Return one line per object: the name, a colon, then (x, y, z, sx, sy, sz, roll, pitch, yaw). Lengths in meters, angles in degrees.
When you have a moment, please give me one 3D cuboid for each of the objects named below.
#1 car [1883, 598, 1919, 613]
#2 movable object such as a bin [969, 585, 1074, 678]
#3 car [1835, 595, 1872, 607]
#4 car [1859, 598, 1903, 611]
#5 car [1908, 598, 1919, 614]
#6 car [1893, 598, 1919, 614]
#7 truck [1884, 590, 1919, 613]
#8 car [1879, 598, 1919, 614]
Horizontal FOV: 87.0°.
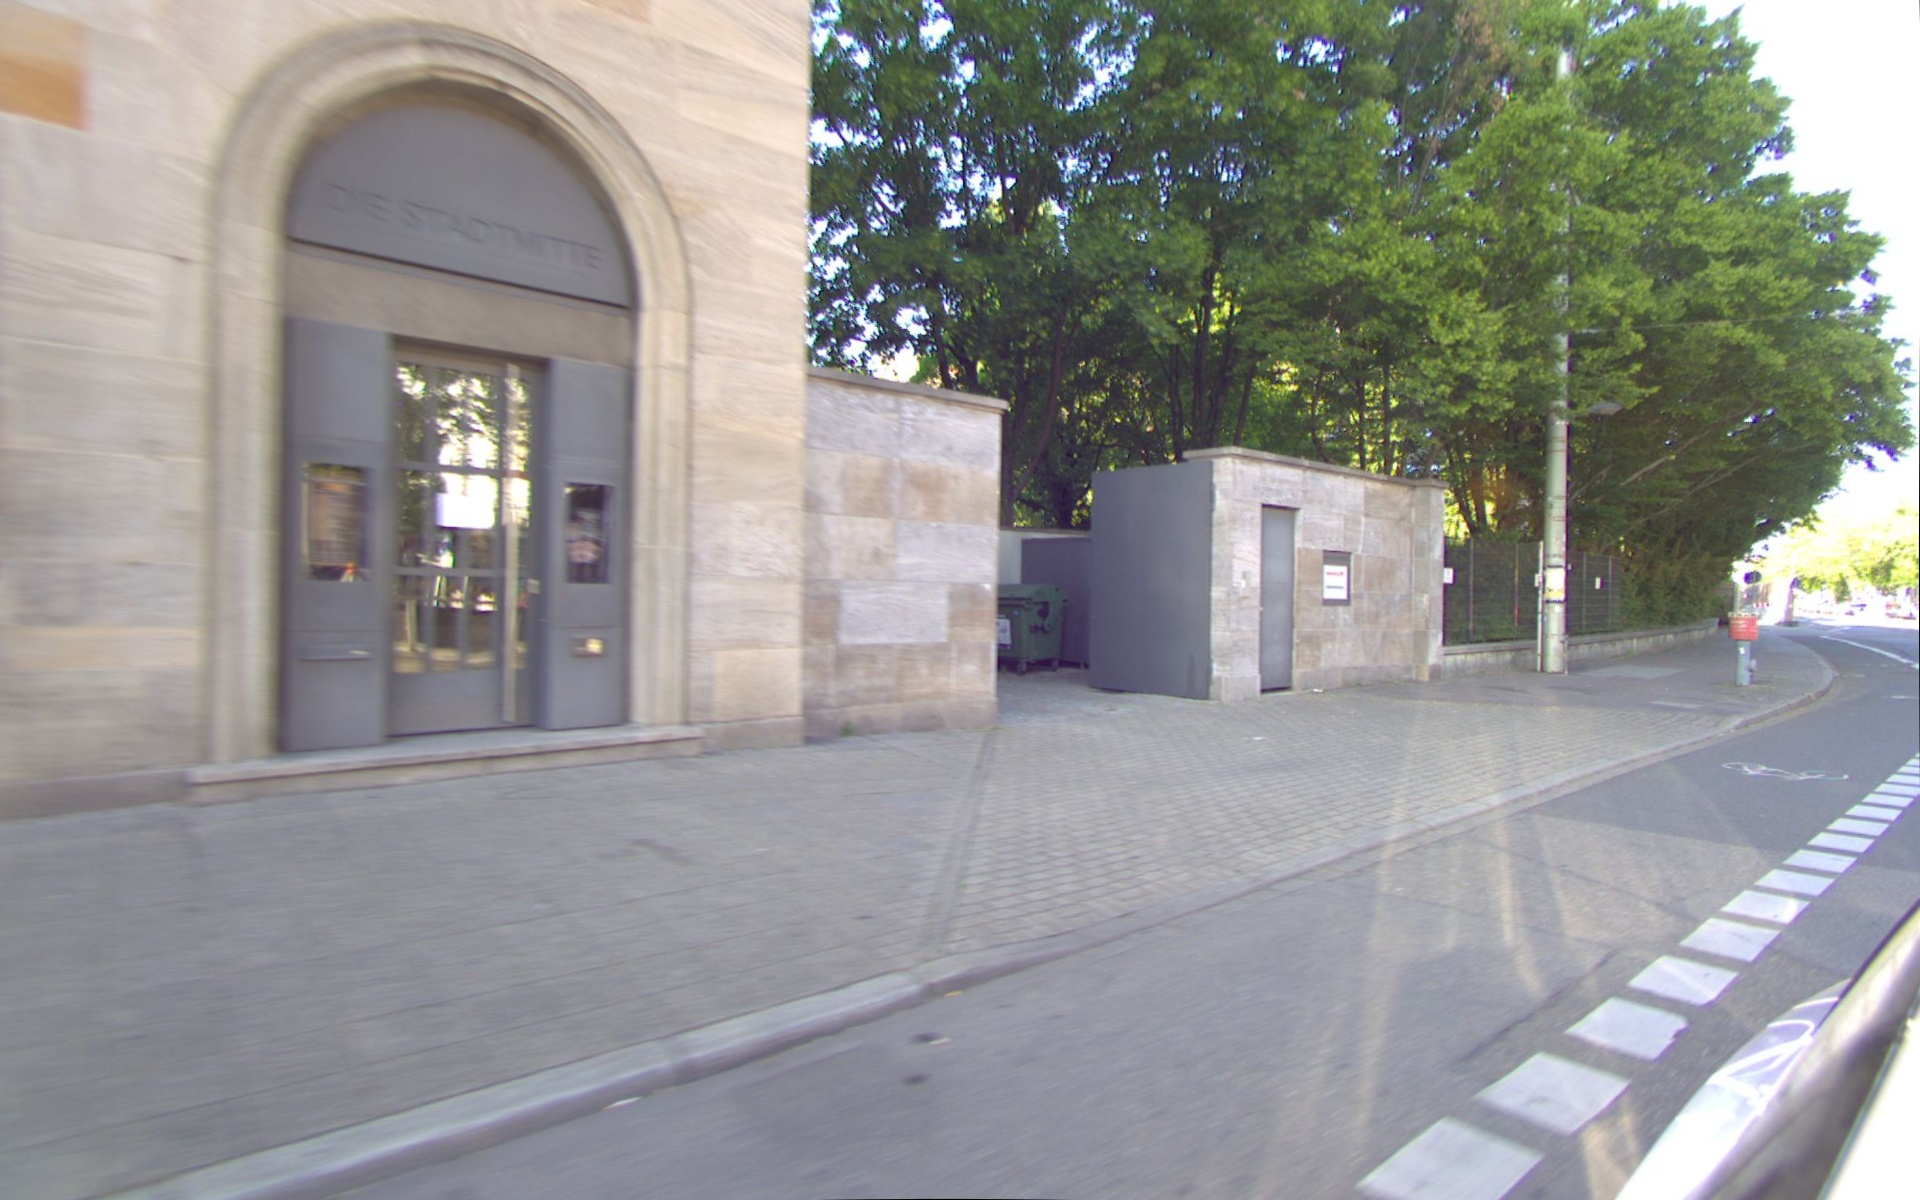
car: (105.199, 0.624, 112.344, 3.742, 1.614, 1.654, -2, -1, 31)
movable object such as a bin: (1.018, 0.490, 16.896, 1.092, 1.486, 1.374, 0, 0, -41)
car: (124.999, 0.121, 141.688, 3.592, 1.520, 1.487, -2, -1, 31)
car: (117.266, 0.566, 128.888, 3.742, 1.614, 1.654, -2, -1, 31)
car: (99.629, 0.551, 103.405, 3.742, 1.614, 1.654, -2, -1, 31)
car: (101.248, 0.622, 106.773, 3.742, 1.614, 1.654, -2, -1, 31)
truck: (103.340, 0.127, 110.202, 3.749, 2.454, 1.651, -3, -2, 36)
car: (107.556, 0.677, 115.433, 3.742, 1.614, 1.654, -2, -1, 31)
